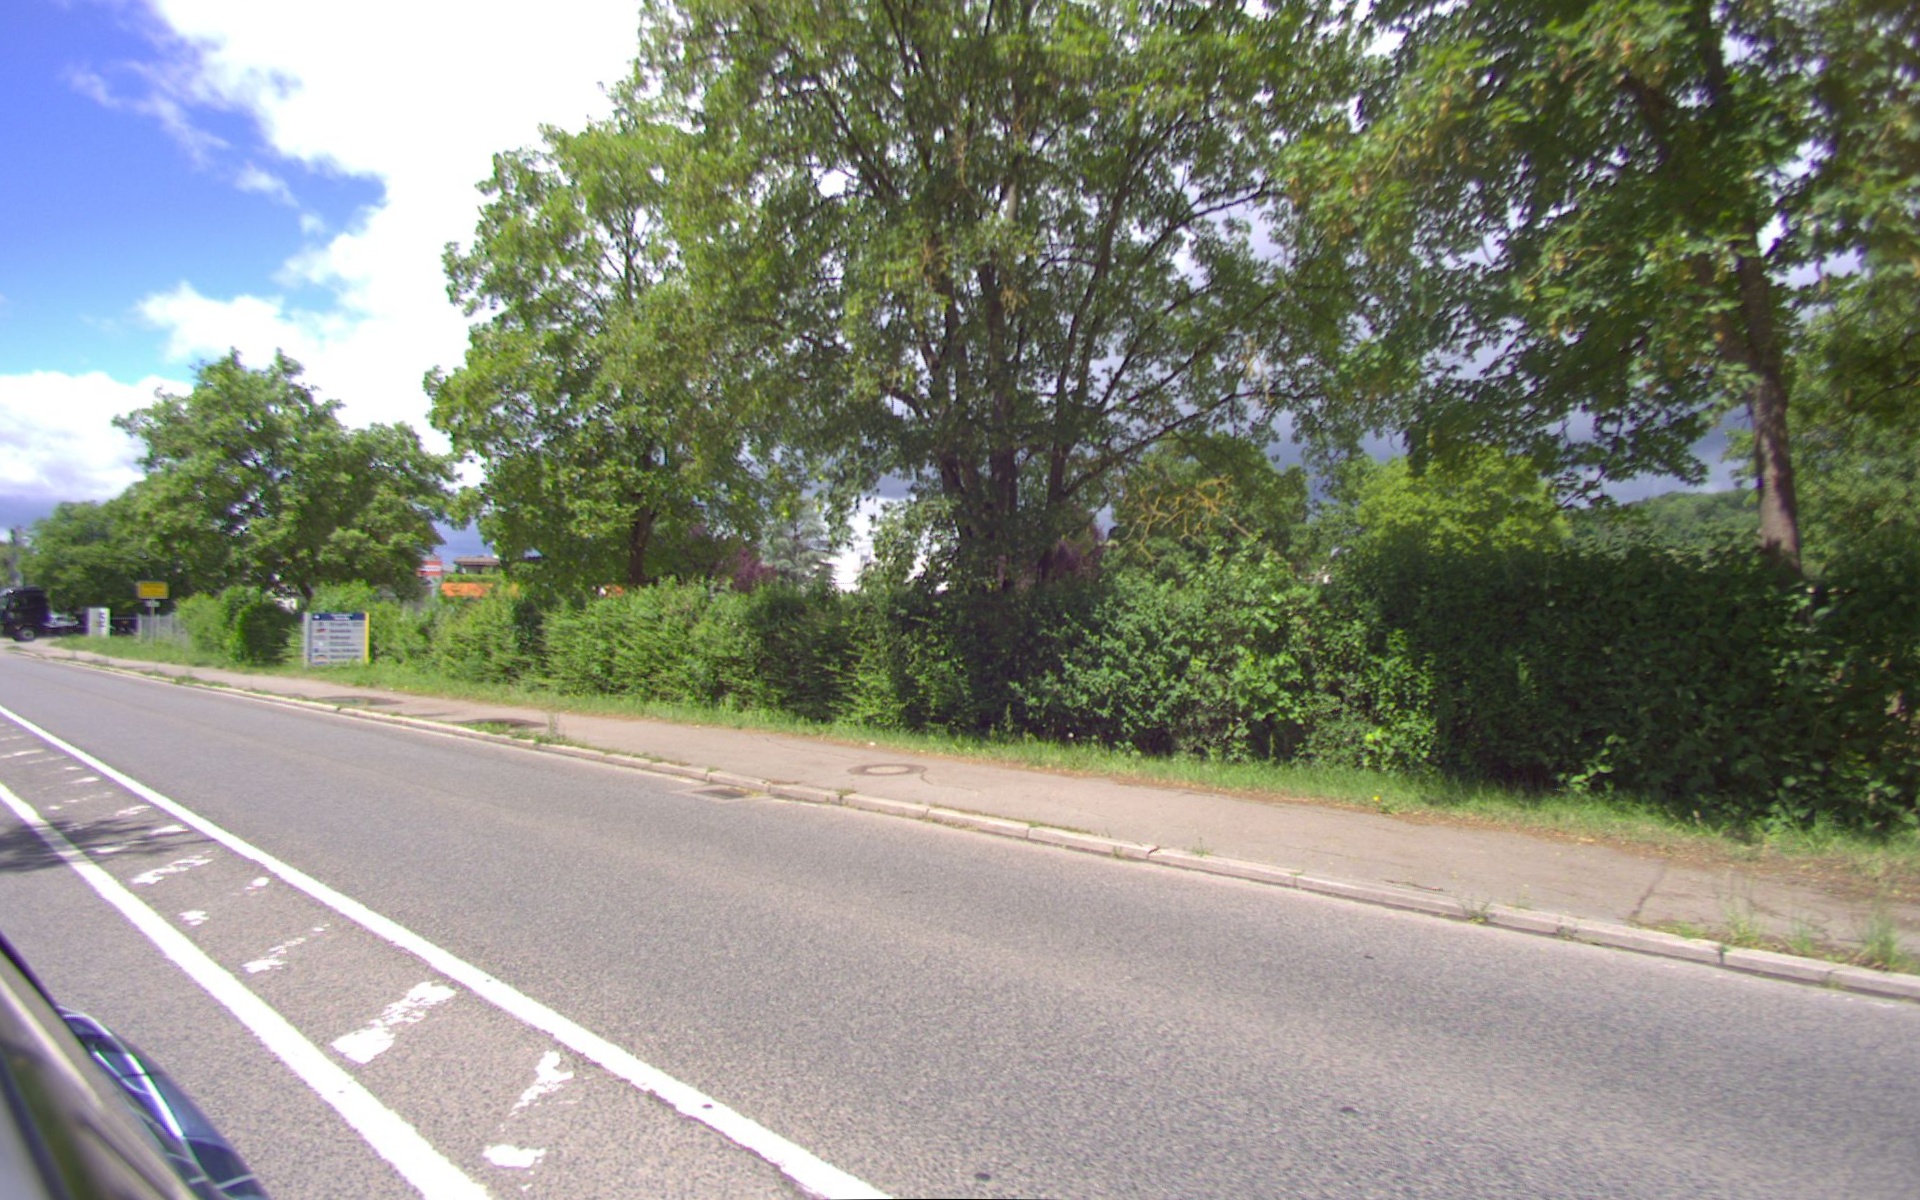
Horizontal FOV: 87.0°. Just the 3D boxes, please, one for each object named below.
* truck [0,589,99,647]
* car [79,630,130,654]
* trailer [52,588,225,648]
[{"bbox_3d":[-63.071,1.258,69.420,2.979,3.853,5.503,-1,-2,37],"label":"truck"},{"bbox_3d":[-66.507,3.246,78.748,1.903,1.734,4.615,0,-2,-25],"label":"car"},{"bbox_3d":[-60.262,1.351,74.622,3.302,4.114,9.383,0,-2,26],"label":"trailer"}]
